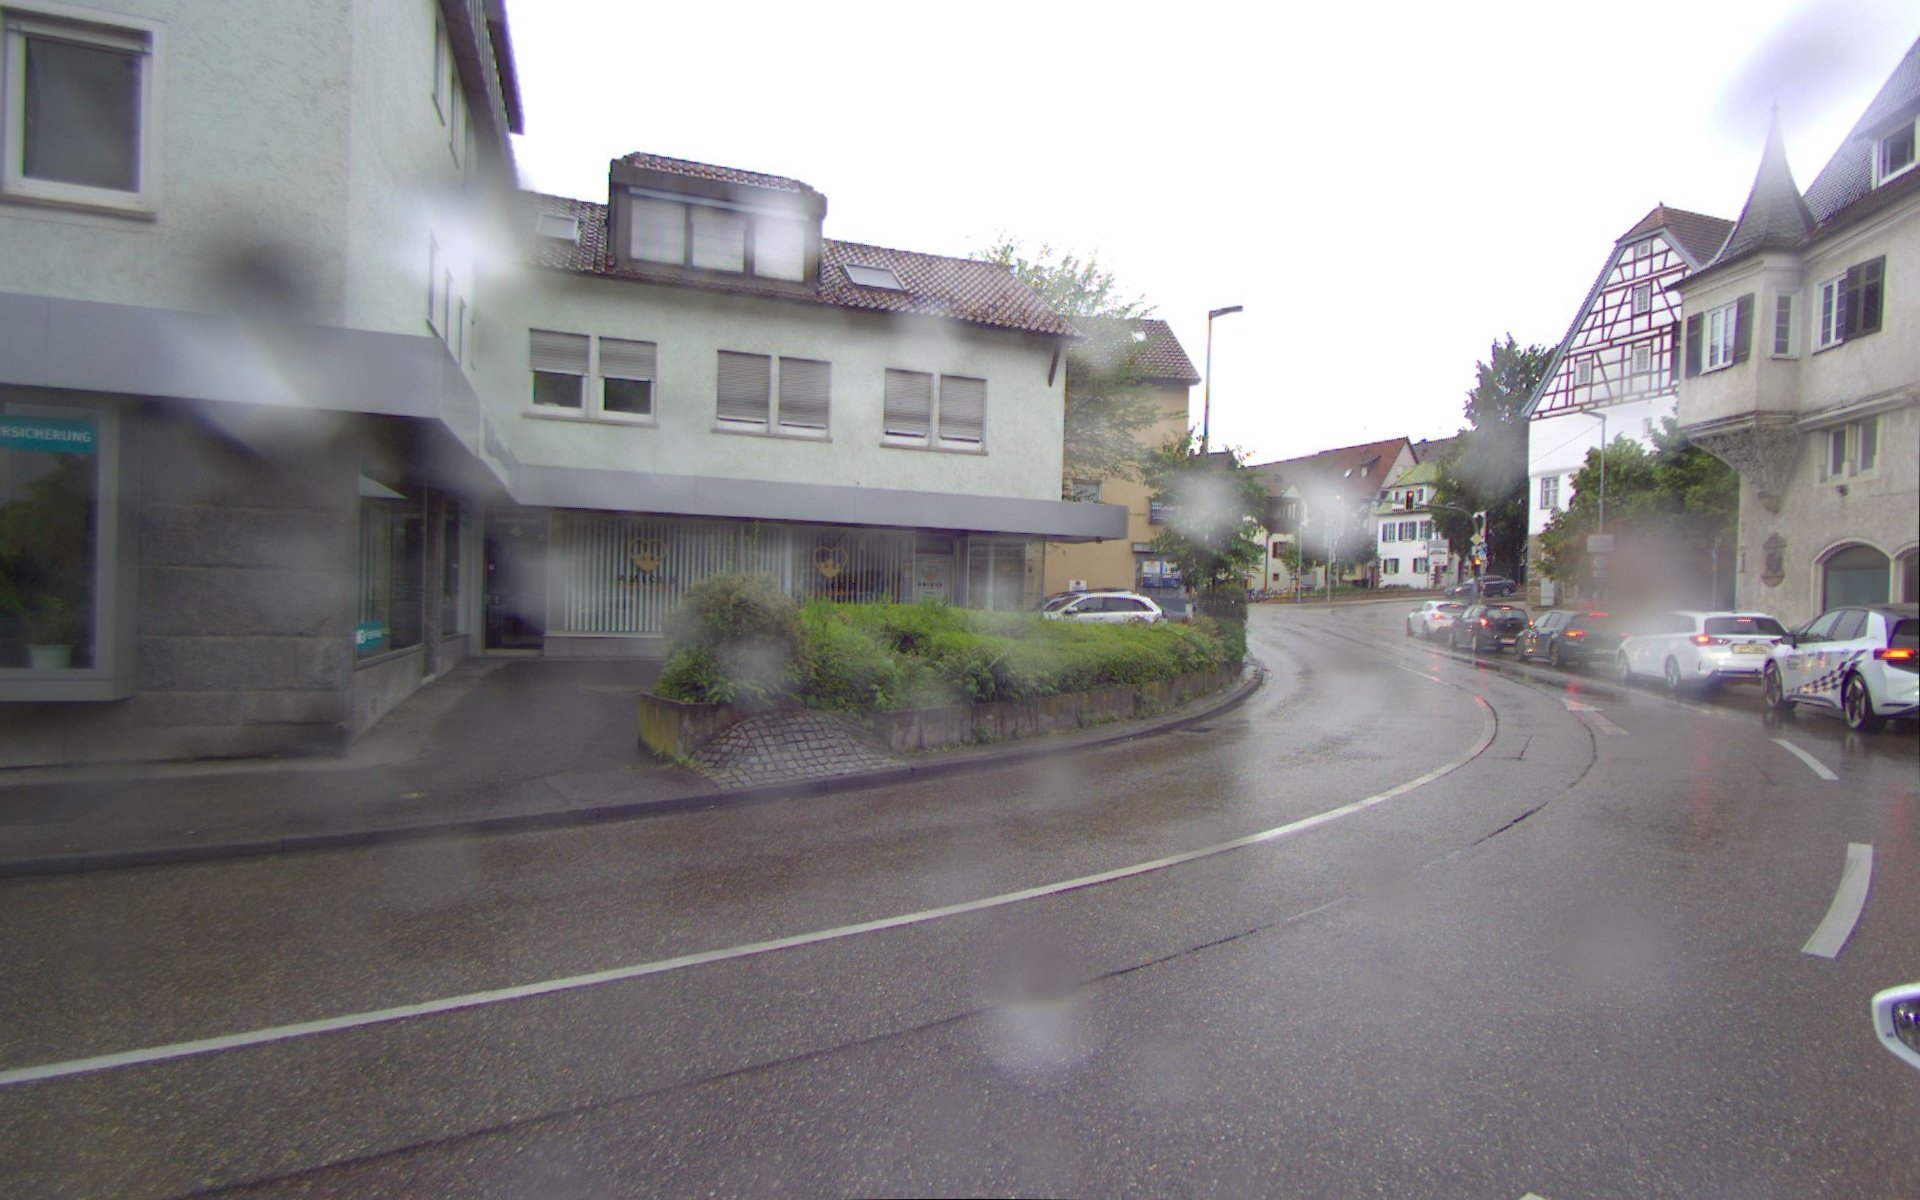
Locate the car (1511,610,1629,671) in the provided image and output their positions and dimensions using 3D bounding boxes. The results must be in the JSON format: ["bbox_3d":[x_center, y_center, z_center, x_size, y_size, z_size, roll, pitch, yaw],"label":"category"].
[{"bbox_3d":[15.665,0.987,25.989,1.493,1.380,3.769,-1,0,13],"label":"car"}]

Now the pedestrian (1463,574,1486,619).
[{"bbox_3d":[27.705,-0.181,54.105,0.851,2.357,1.231,1,0,18],"label":"pedestrian"}]

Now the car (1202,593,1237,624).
[{"bbox_3d":[13.649,0.469,52.798,1.703,1.530,4.275,-1,-1,15],"label":"car"}]

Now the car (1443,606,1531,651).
[{"bbox_3d":[16.975,0.883,32.500,1.634,1.330,3.625,-1,0,13],"label":"car"}]

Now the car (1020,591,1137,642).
[{"bbox_3d":[3.811,0.522,32.704,3.472,1.597,1.710,0,1,-8],"label":"car"}]

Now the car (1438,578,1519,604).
[{"bbox_3d":[33.521,-0.601,64.988,4.446,1.409,1.648,1,7,-8],"label":"car"}]

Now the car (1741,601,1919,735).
[{"bbox_3d":[12.160,0.794,13.312,1.760,1.537,4.239,-1,-1,22],"label":"car"}]

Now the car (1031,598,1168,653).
[{"bbox_3d":[3.881,0.705,28.253,3.472,1.475,1.710,0,0,-8],"label":"car"}]

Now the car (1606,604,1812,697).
[{"bbox_3d":[13.922,0.862,18.989,1.755,1.485,4.165,-1,0,16],"label":"car"}]

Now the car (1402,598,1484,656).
[{"bbox_3d":[18.650,0.992,38.977,1.939,2.118,3.963,-1,1,11],"label":"car"}]

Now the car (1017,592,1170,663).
[{"bbox_3d":[3.297,0.652,25.202,3.472,1.708,1.710,0,1,-8],"label":"car"}]
